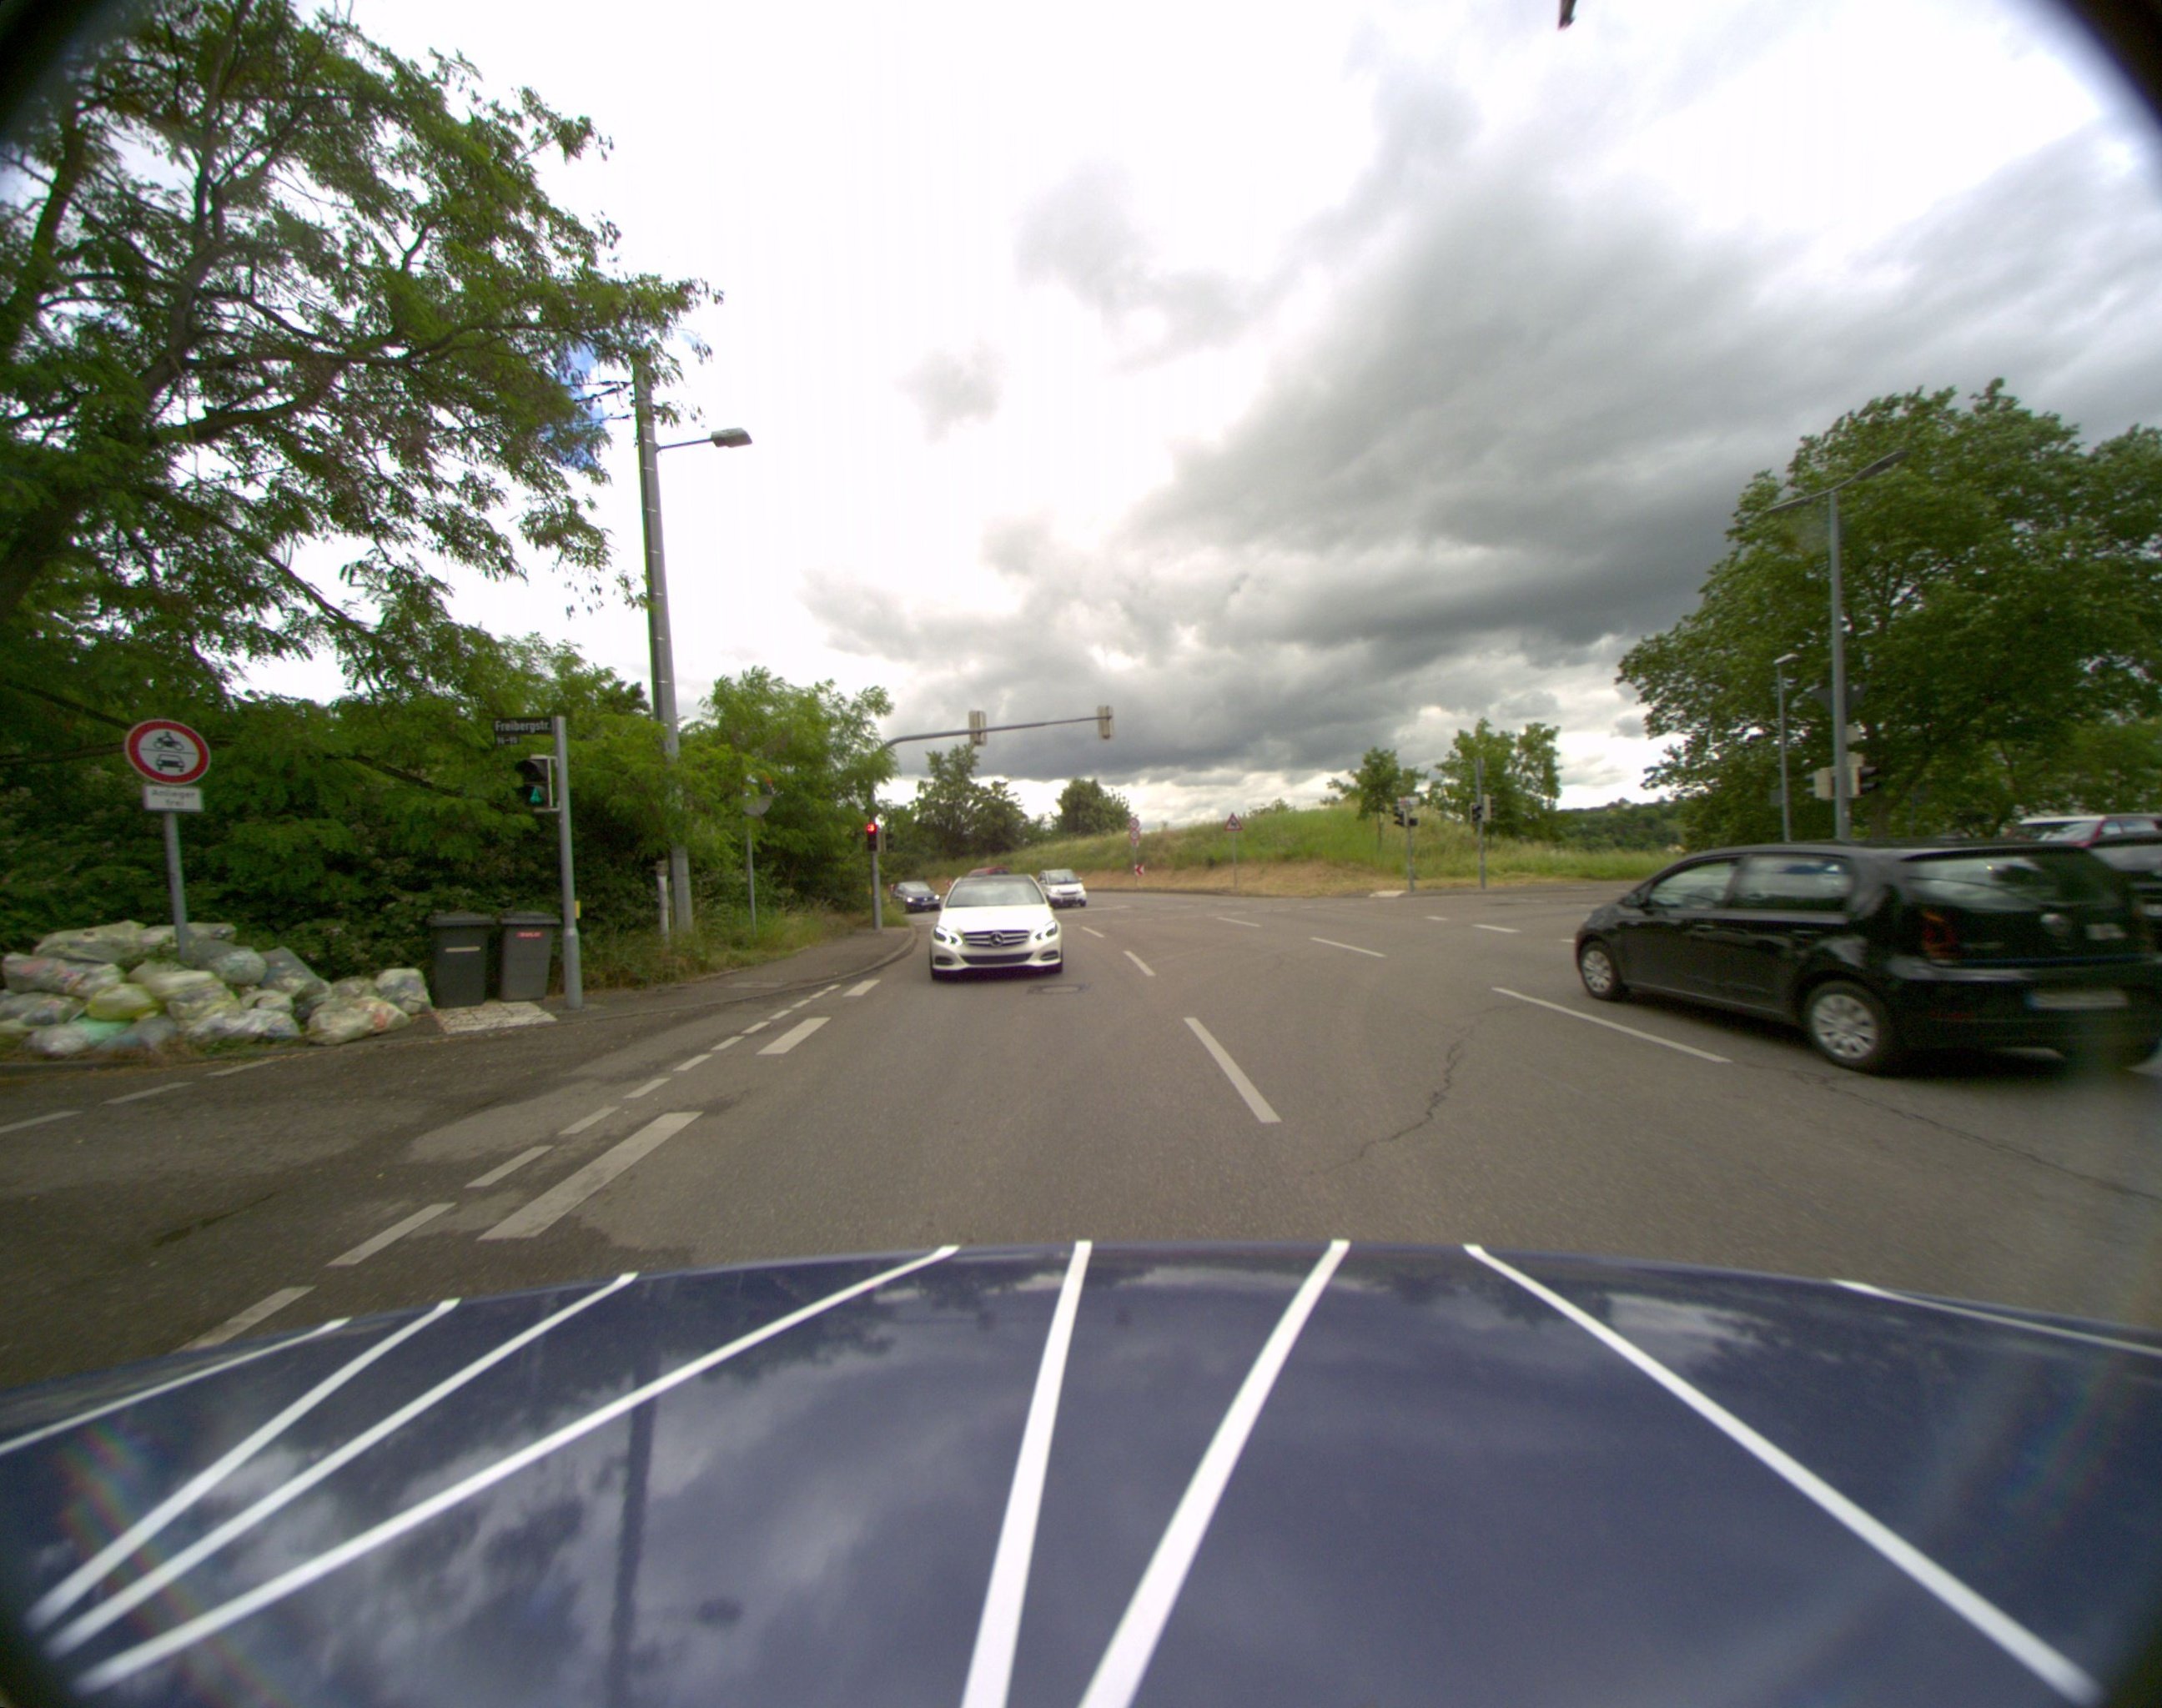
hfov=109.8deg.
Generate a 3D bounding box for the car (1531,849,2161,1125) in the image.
[{"bbox_3d":[5.612,0.702,6.044,1.727,1.401,4.000,-3,0,1],"label":"car"}]

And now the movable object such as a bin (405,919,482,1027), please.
[{"bbox_3d":[-7.235,1.319,8.620,0.576,1.109,0.643,-3,0,-45],"label":"movable object such as a bin"}]

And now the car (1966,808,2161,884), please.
[{"bbox_3d":[26.510,-0.228,20.440,4.040,1.802,1.853,-2,0,-14],"label":"car"}]

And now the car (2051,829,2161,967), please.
[{"bbox_3d":[13.865,0.443,9.358,4.143,1.468,1.818,-3,0,-31],"label":"car"}]

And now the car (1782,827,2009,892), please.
[{"bbox_3d":[20.332,0.099,19.023,4.421,1.331,1.997,-3,2,-14],"label":"car"}]

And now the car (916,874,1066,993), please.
[{"bbox_3d":[-1.227,1.103,12.060,1.887,1.414,4.000,-2,0,-1],"label":"car"}]

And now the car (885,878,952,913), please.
[{"bbox_3d":[-8.143,2.037,37.943,1.827,1.535,3.716,-3,0,-37],"label":"car"}]

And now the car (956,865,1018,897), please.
[{"bbox_3d":[-5.975,1.682,47.854,1.696,1.815,4.714,-3,0,-36],"label":"car"}]

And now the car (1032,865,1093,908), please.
[{"bbox_3d":[-0.781,1.258,30.540,1.581,1.548,3.012,-3,0,-18],"label":"car"}]

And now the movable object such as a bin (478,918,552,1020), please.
[{"bbox_3d":[-6.782,1.347,9.102,0.576,1.109,0.643,-3,0,-45],"label":"movable object such as a bin"}]
